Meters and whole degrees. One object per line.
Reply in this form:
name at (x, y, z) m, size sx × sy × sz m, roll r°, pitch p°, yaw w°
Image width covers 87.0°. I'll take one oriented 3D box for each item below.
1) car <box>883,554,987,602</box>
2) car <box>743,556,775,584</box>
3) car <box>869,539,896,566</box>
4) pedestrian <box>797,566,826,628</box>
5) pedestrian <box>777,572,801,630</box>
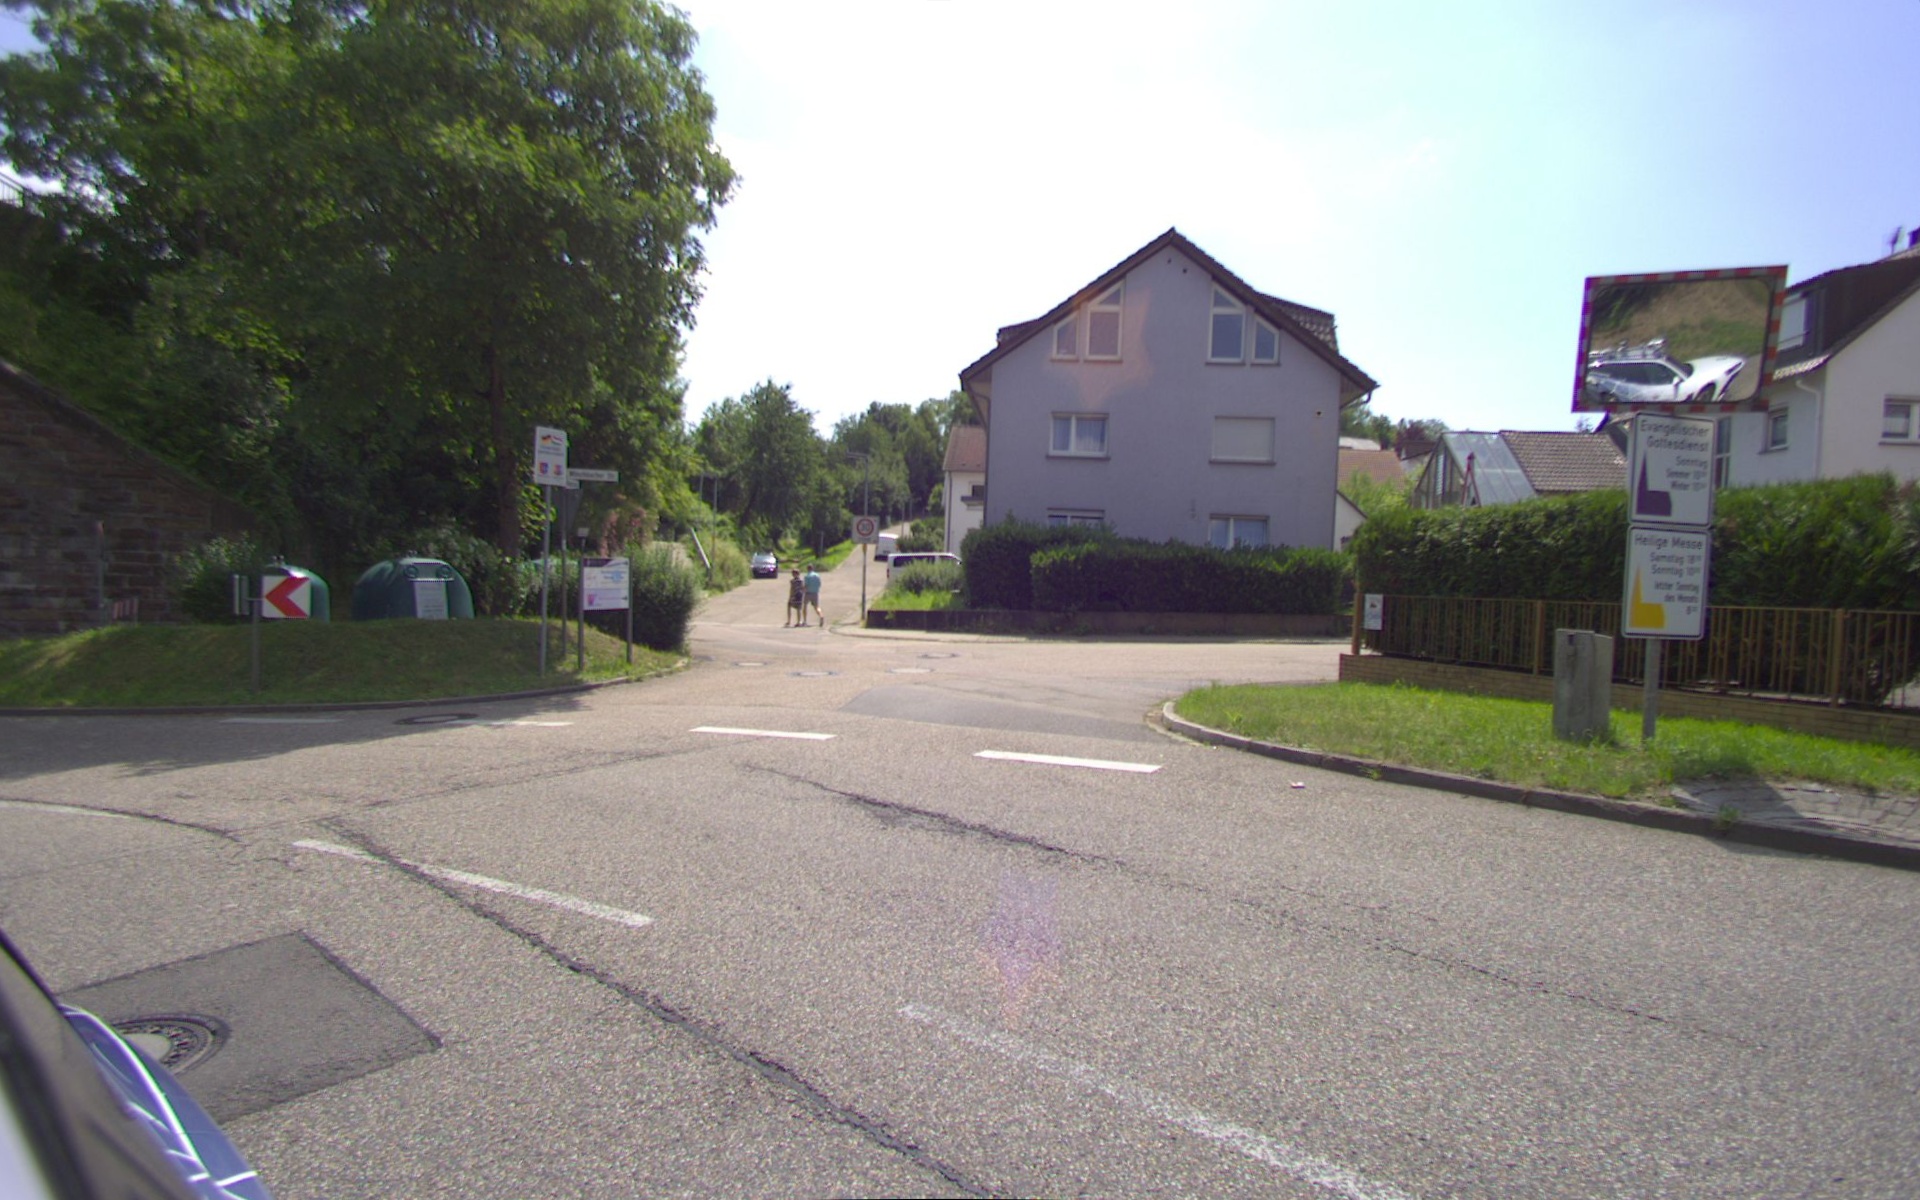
car at (-1.105, -0.995, 46.688) m, size 4.650 × 2.029 × 1.998 m, roll -1°, pitch 1°, yaw 3°
car at (-12.328, -1.818, 62.245) m, size 1.826 × 1.655 × 4.401 m, roll -1°, pitch 1°, yaw -10°
car at (-6.332, -3.842, 82.709) m, size 1.969 × 2.029 × 4.719 m, roll -1°, pitch 1°, yaw -6°
pedestrian at (-4.230, -0.095, 28.774) m, size 0.676 × 1.725 × 0.792 m, roll -2°, pitch 2°, yaw -16°
pedestrian at (-4.758, 0.014, 28.196) m, size 0.564 × 1.566 × 0.601 m, roll -2°, pitch 2°, yaw -16°
